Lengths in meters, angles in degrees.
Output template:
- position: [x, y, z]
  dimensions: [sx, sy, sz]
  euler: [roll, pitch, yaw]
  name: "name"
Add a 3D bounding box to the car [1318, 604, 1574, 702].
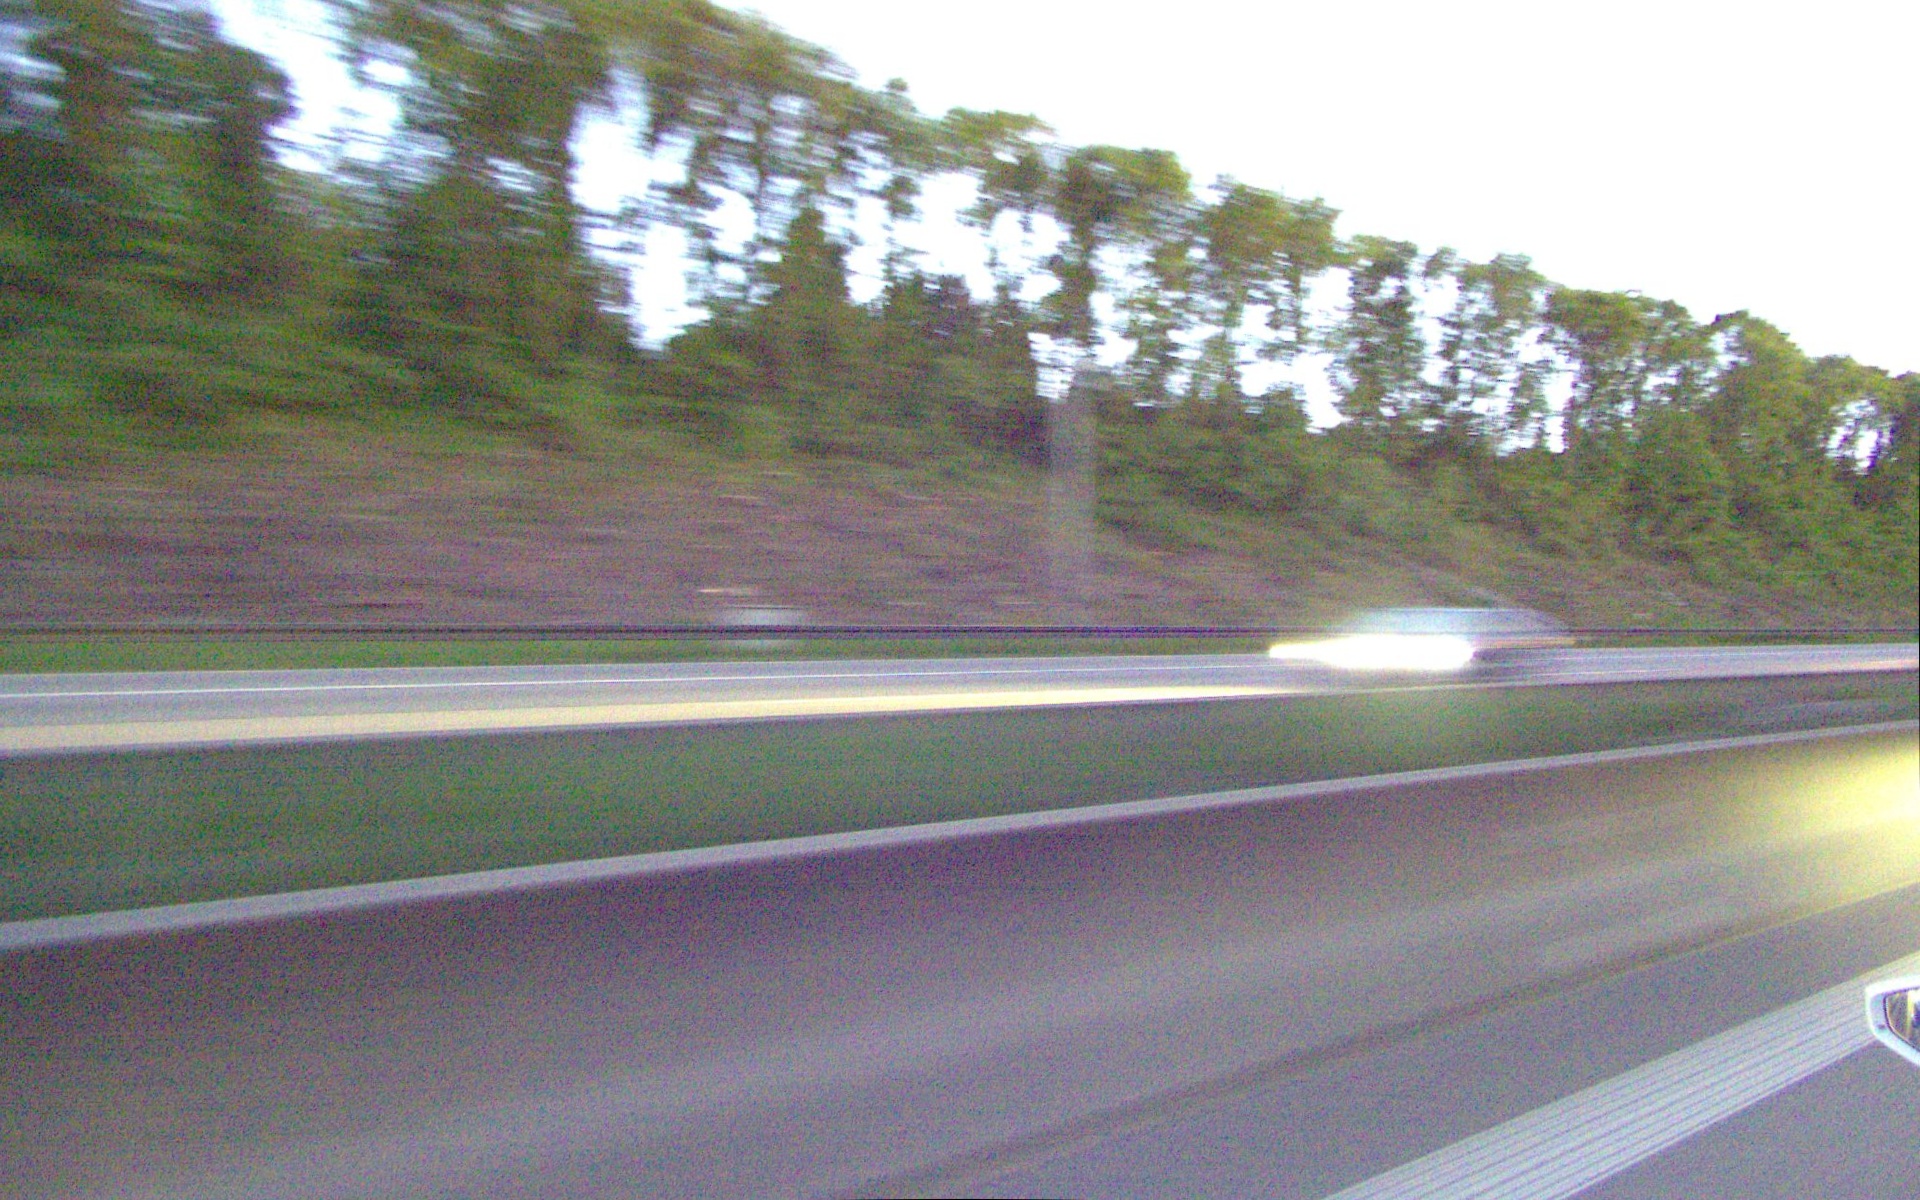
- position: [8.461, 0.863, 17.425]
  dimensions: [4.316, 1.498, 1.812]
  euler: [1, 0, -28]
  name: "car"
